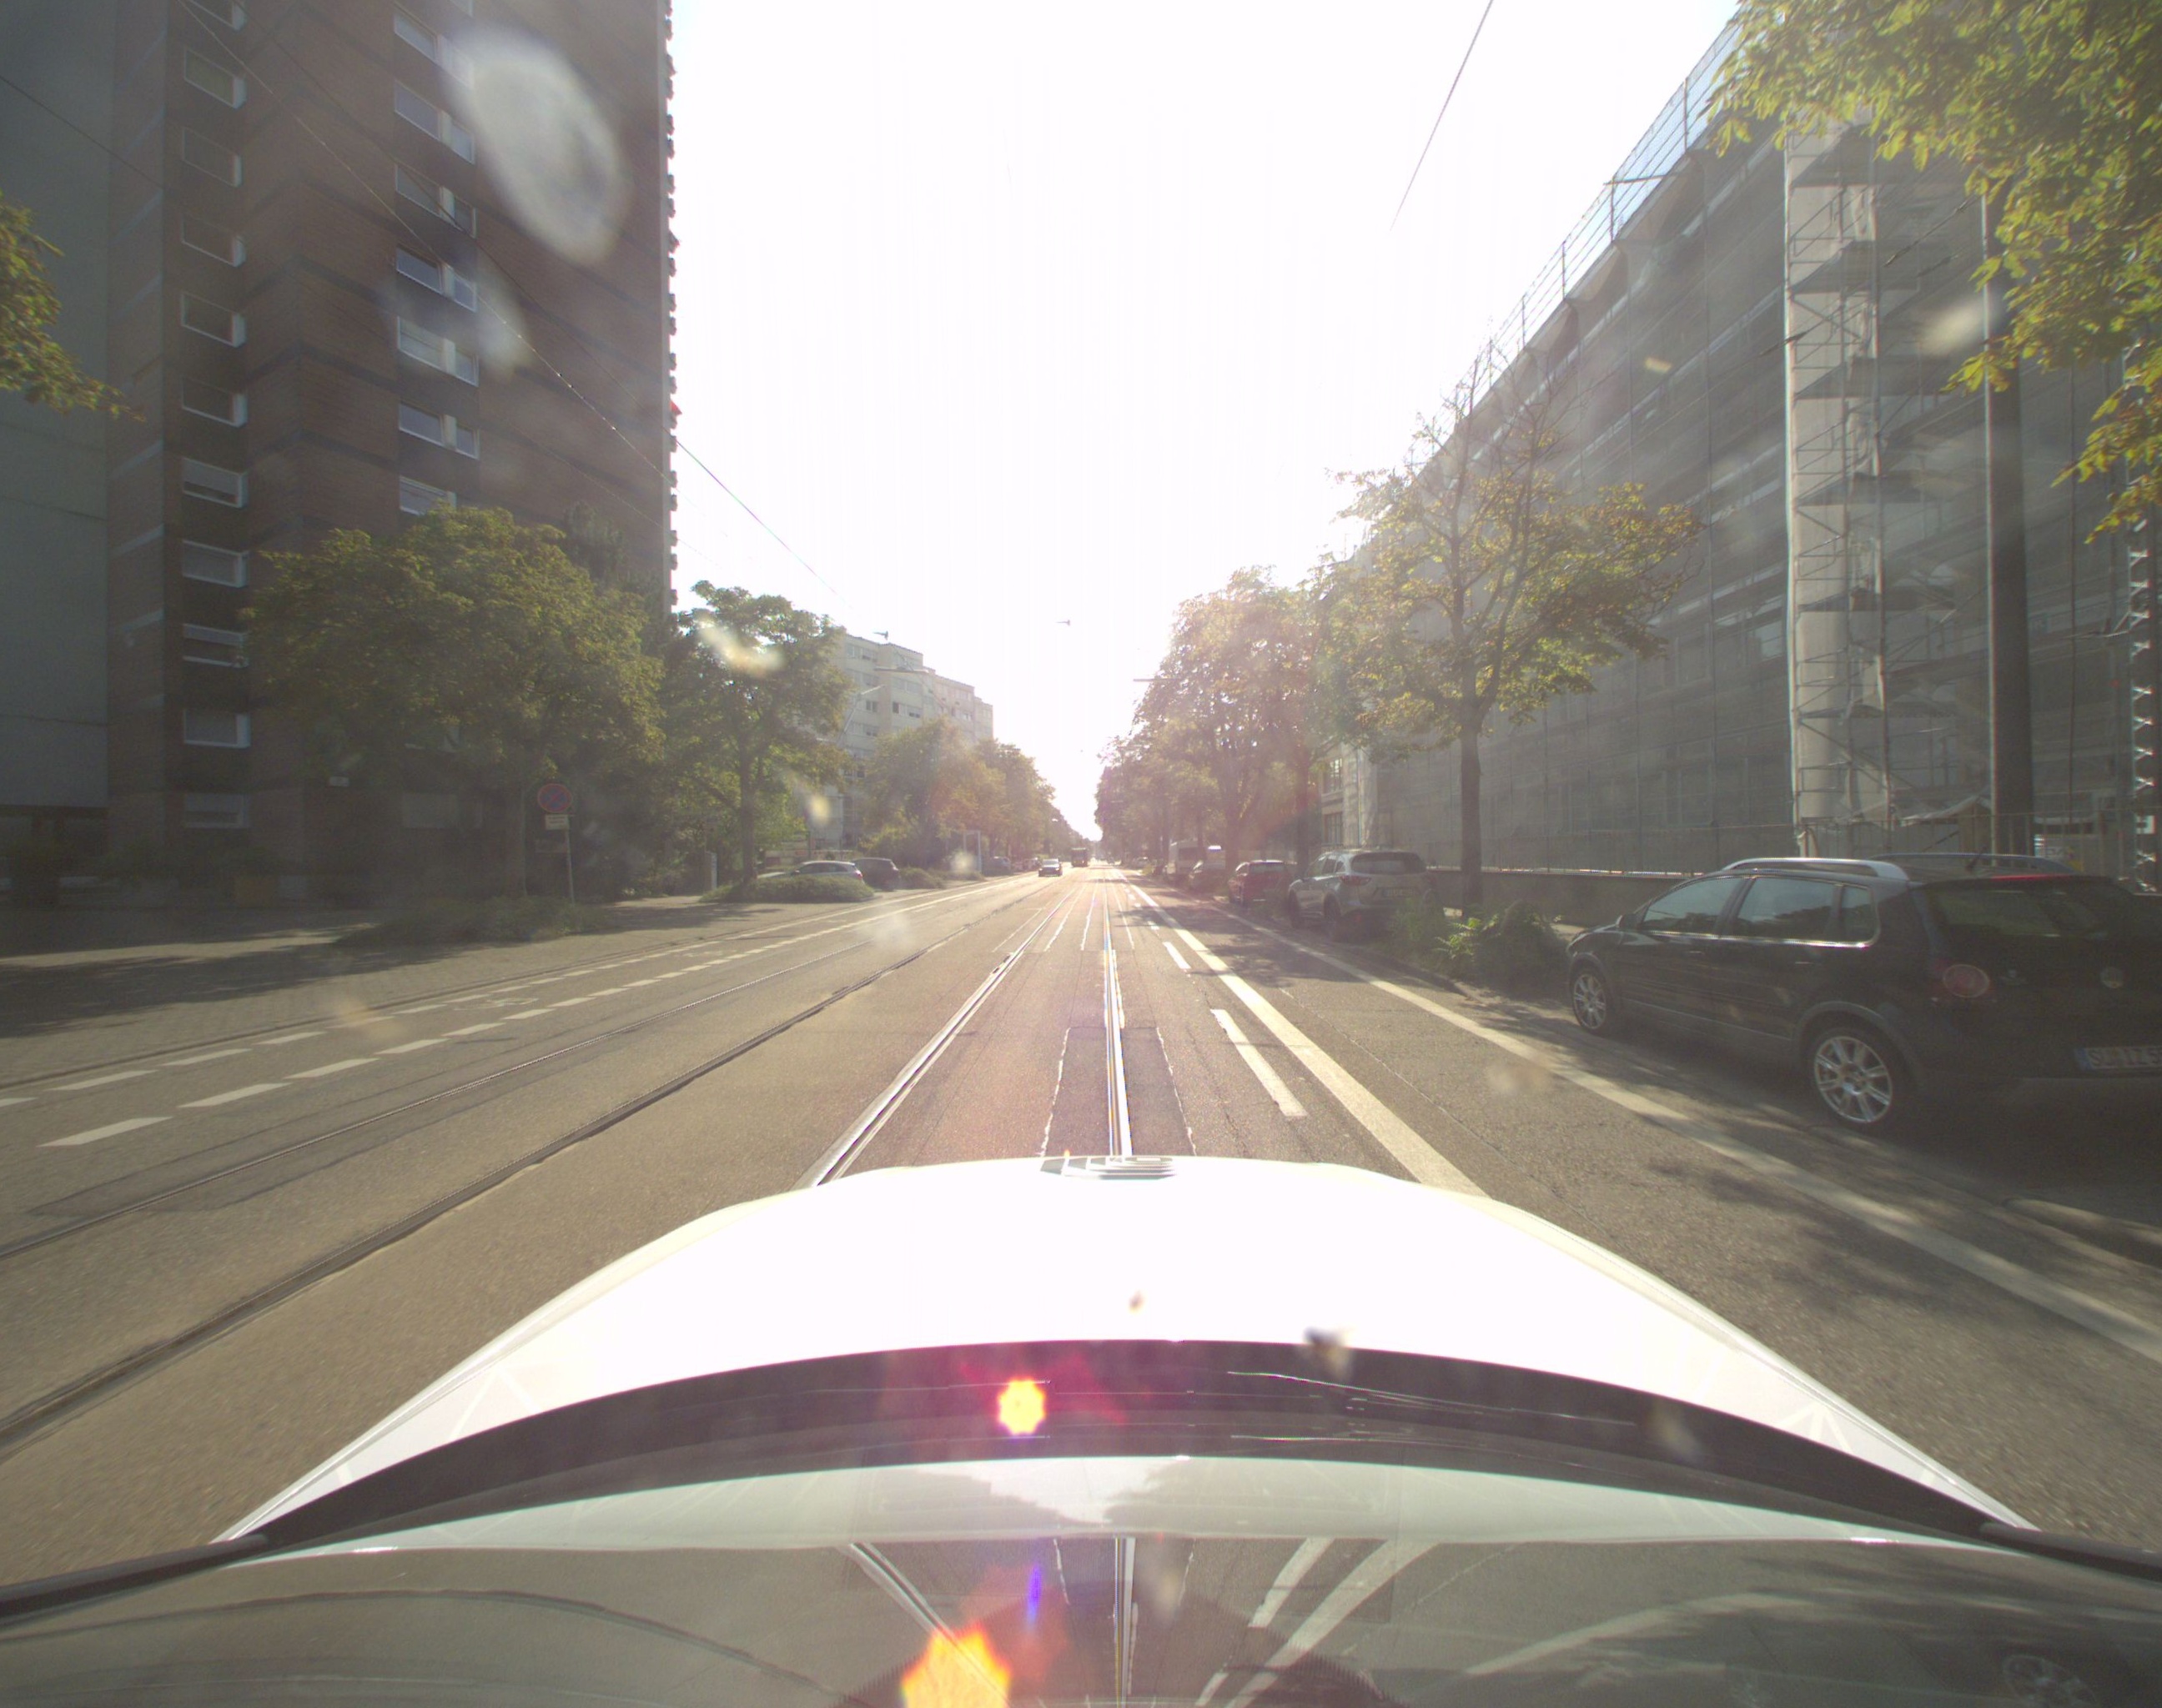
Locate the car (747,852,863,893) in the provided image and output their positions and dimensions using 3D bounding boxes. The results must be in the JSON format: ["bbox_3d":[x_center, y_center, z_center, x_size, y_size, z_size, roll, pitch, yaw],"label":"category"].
[{"bbox_3d":[-10.670,0.693,31.532,4.010,1.479,1.773,0,0,-28],"label":"car"}]

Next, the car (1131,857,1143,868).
[{"bbox_3d":[7.789,1.185,113.394,1.588,1.418,3.636,-1,0,2],"label":"car"}]

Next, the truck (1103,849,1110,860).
[{"bbox_3d":[7.284,0.165,230.283,1.855,3.131,4.351,-1,0,-1],"label":"truck"}]

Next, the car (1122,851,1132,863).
[{"bbox_3d":[9.433,0.607,168.483,1.997,2.475,4.479,-1,0,2],"label":"car"}]

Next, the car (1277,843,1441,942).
[{"bbox_3d":[5.286,0.653,16.136,1.748,1.691,4.395,0,0,0],"label":"car"}]

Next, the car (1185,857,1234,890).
[{"bbox_3d":[5.737,0.850,36.932,1.610,1.374,4.829,-1,0,2],"label":"car"}]

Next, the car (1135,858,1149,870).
[{"bbox_3d":[7.458,1.196,99.859,1.683,1.418,3.636,-1,0,2],"label":"car"}]

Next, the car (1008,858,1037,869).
[{"bbox_3d":[-7.416,1.192,103.434,1.550,1.443,3.786,-1,-1,41],"label":"car"}]

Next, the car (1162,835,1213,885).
[{"bbox_3d":[6.102,0.350,47.205,2.076,2.552,5.500,-4,0,0],"label":"car"}]

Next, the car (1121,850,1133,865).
[{"bbox_3d":[7.948,0.618,141.594,1.997,2.490,4.479,2,-1,2],"label":"car"}]

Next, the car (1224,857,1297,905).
[{"bbox_3d":[5.792,0.826,26.694,1.610,1.413,4.002,-1,0,2],"label":"car"}]

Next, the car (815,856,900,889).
[{"bbox_3d":[-10.470,0.865,38.193,3.650,1.515,1.609,1,0,-24],"label":"car"}]

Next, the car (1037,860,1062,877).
[{"bbox_3d":[-2.628,1.169,68.916,1.822,1.376,4.513,-1,0,1],"label":"car"}]

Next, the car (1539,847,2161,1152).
[{"bbox_3d":[5.119,0.731,5.916,1.570,1.485,3.740,-1,0,2],"label":"car"}]

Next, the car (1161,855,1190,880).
[{"bbox_3d":[6.531,0.927,56.601,1.658,1.616,3.879,-2,0,2],"label":"car"}]

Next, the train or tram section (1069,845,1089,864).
[{"bbox_3d":[-0.228,0.102,135.226,2.719,2.894,15.459,-1,0,2],"label":"train or tram section"}]

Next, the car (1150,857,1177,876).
[{"bbox_3d":[6.642,0.978,66.052,1.747,1.377,4.720,-2,0,2],"label":"car"}]

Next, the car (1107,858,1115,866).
[{"bbox_3d":[7.426,1.945,202.770,1.985,1.838,4.003,-1,0,3],"label":"car"}]
